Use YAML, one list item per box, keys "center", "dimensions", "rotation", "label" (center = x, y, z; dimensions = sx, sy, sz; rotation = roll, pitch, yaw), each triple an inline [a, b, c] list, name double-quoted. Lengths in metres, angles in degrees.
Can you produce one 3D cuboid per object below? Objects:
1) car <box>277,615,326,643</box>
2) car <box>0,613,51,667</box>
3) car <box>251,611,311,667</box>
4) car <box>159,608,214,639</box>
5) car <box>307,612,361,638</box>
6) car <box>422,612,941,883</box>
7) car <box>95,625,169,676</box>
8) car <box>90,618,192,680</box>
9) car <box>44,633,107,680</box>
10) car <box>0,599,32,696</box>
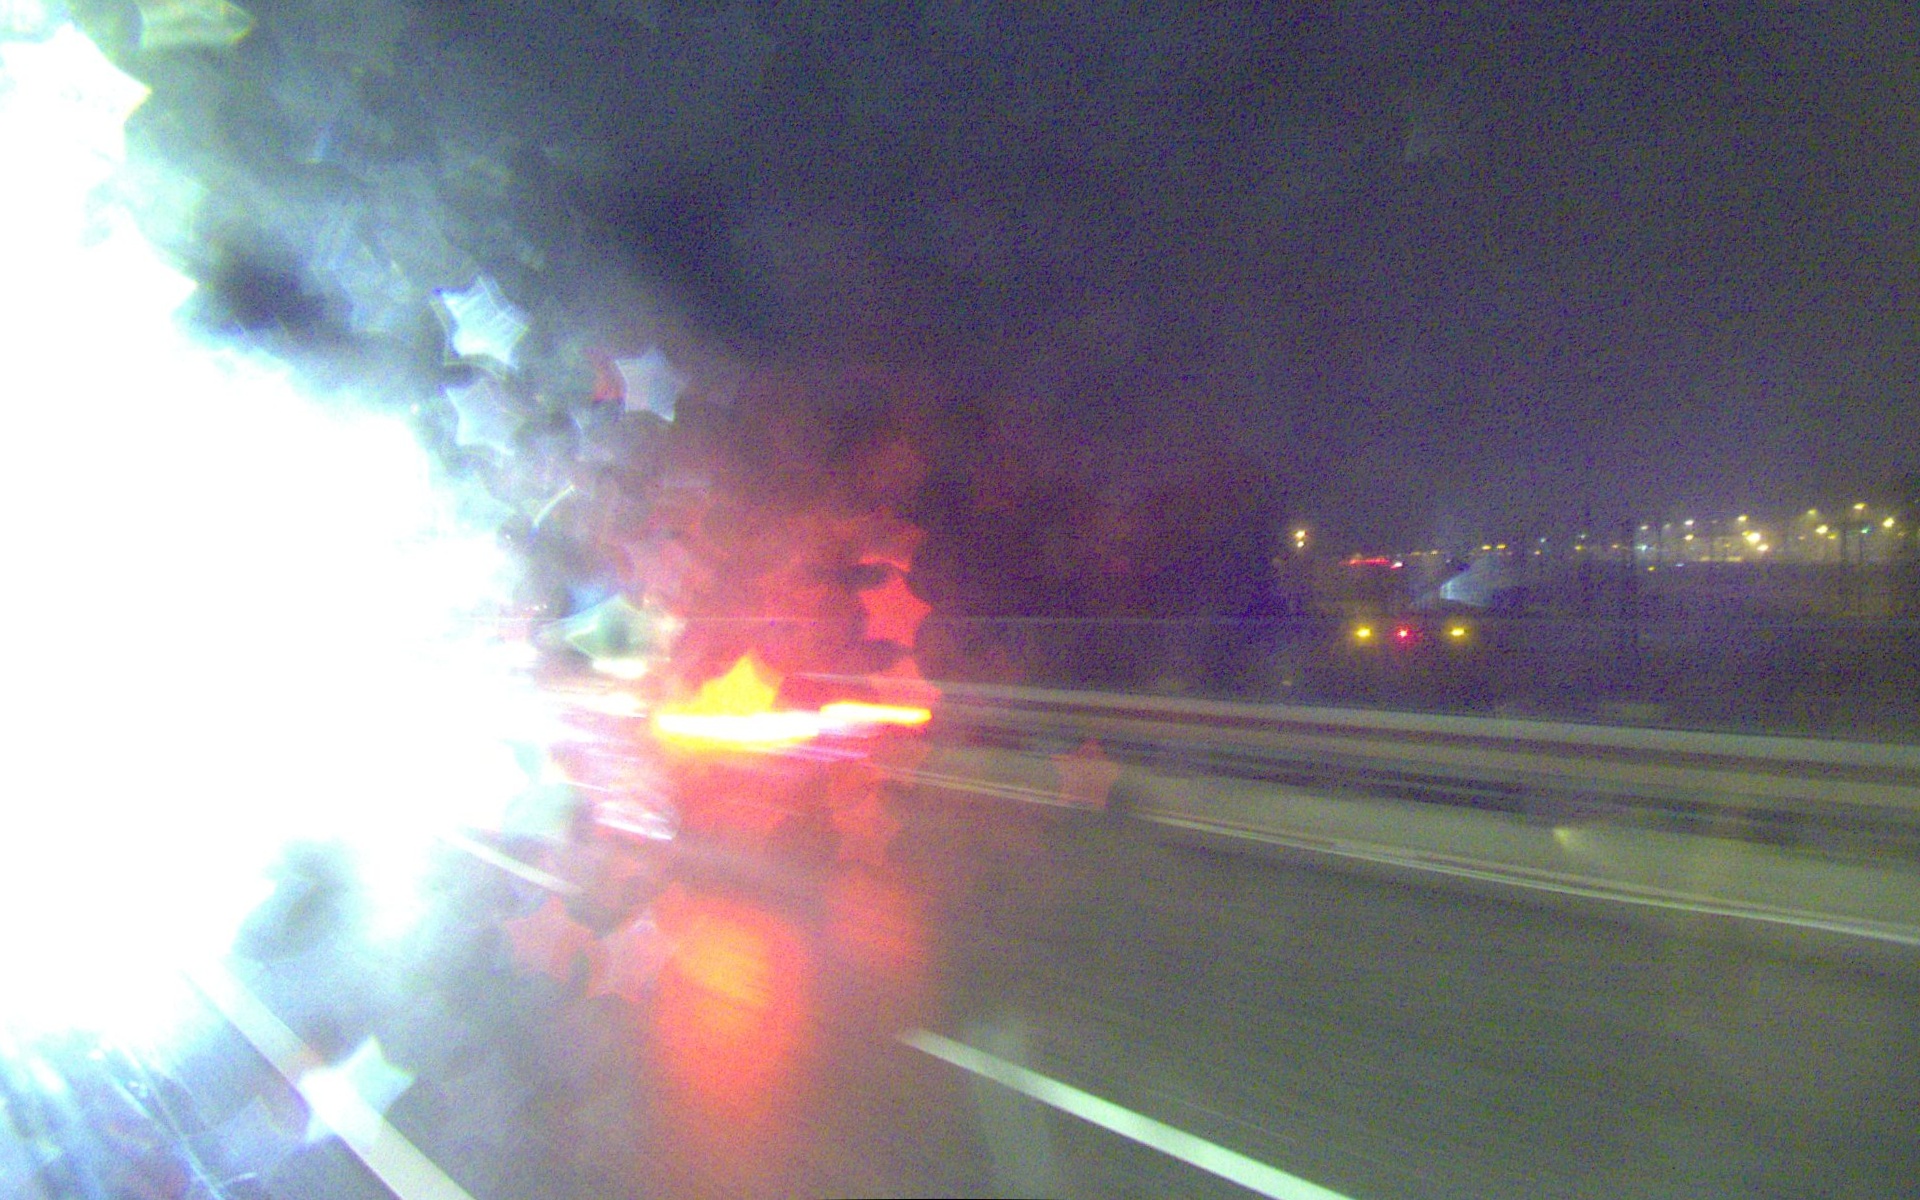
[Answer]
- center: [-42.828, 1.849, 65.922]
  dimensions: [1.971, 1.687, 4.632]
  rotation: [-1, -1, -24]
  label: "car"
- center: [-28.899, 1.222, 30.934]
  dimensions: [1.499, 1.537, 3.112]
  rotation: [-1, -1, -39]
  label: "car"
- center: [-20.708, 1.177, 30.880]
  dimensions: [1.451, 1.597, 3.199]
  rotation: [0, -2, -34]
  label: "car"
- center: [-54.106, 1.662, 70.882]
  dimensions: [1.838, 2.029, 4.012]
  rotation: [-1, -1, -18]
  label: "car"
- center: [-36.017, 1.422, 58.332]
  dimensions: [1.741, 1.438, 4.232]
  rotation: [1, -1, -20]
  label: "car"
- center: [-2.340, 0.843, 7.711]
  dimensions: [4.450, 1.401, 1.665]
  rotation: [0, 1, 42]
  label: "car"
- center: [-42.356, 2.535, 51.865]
  dimensions: [1.966, 2.027, 4.014]
  rotation: [-7, 6, -27]
  label: "car"
- center: [-21.107, 1.208, 26.020]
  dimensions: [1.872, 1.450, 4.068]
  rotation: [0, -1, -41]
  label: "car"
- center: [-33.187, 2.087, 38.032]
  dimensions: [1.285, 1.540, 3.054]
  rotation: [-7, 2, -34]
  label: "car"
- center: [-21.934, 1.030, 22.165]
  dimensions: [1.967, 2.029, 4.008]
  rotation: [1, -2, -37]
  label: "car"
